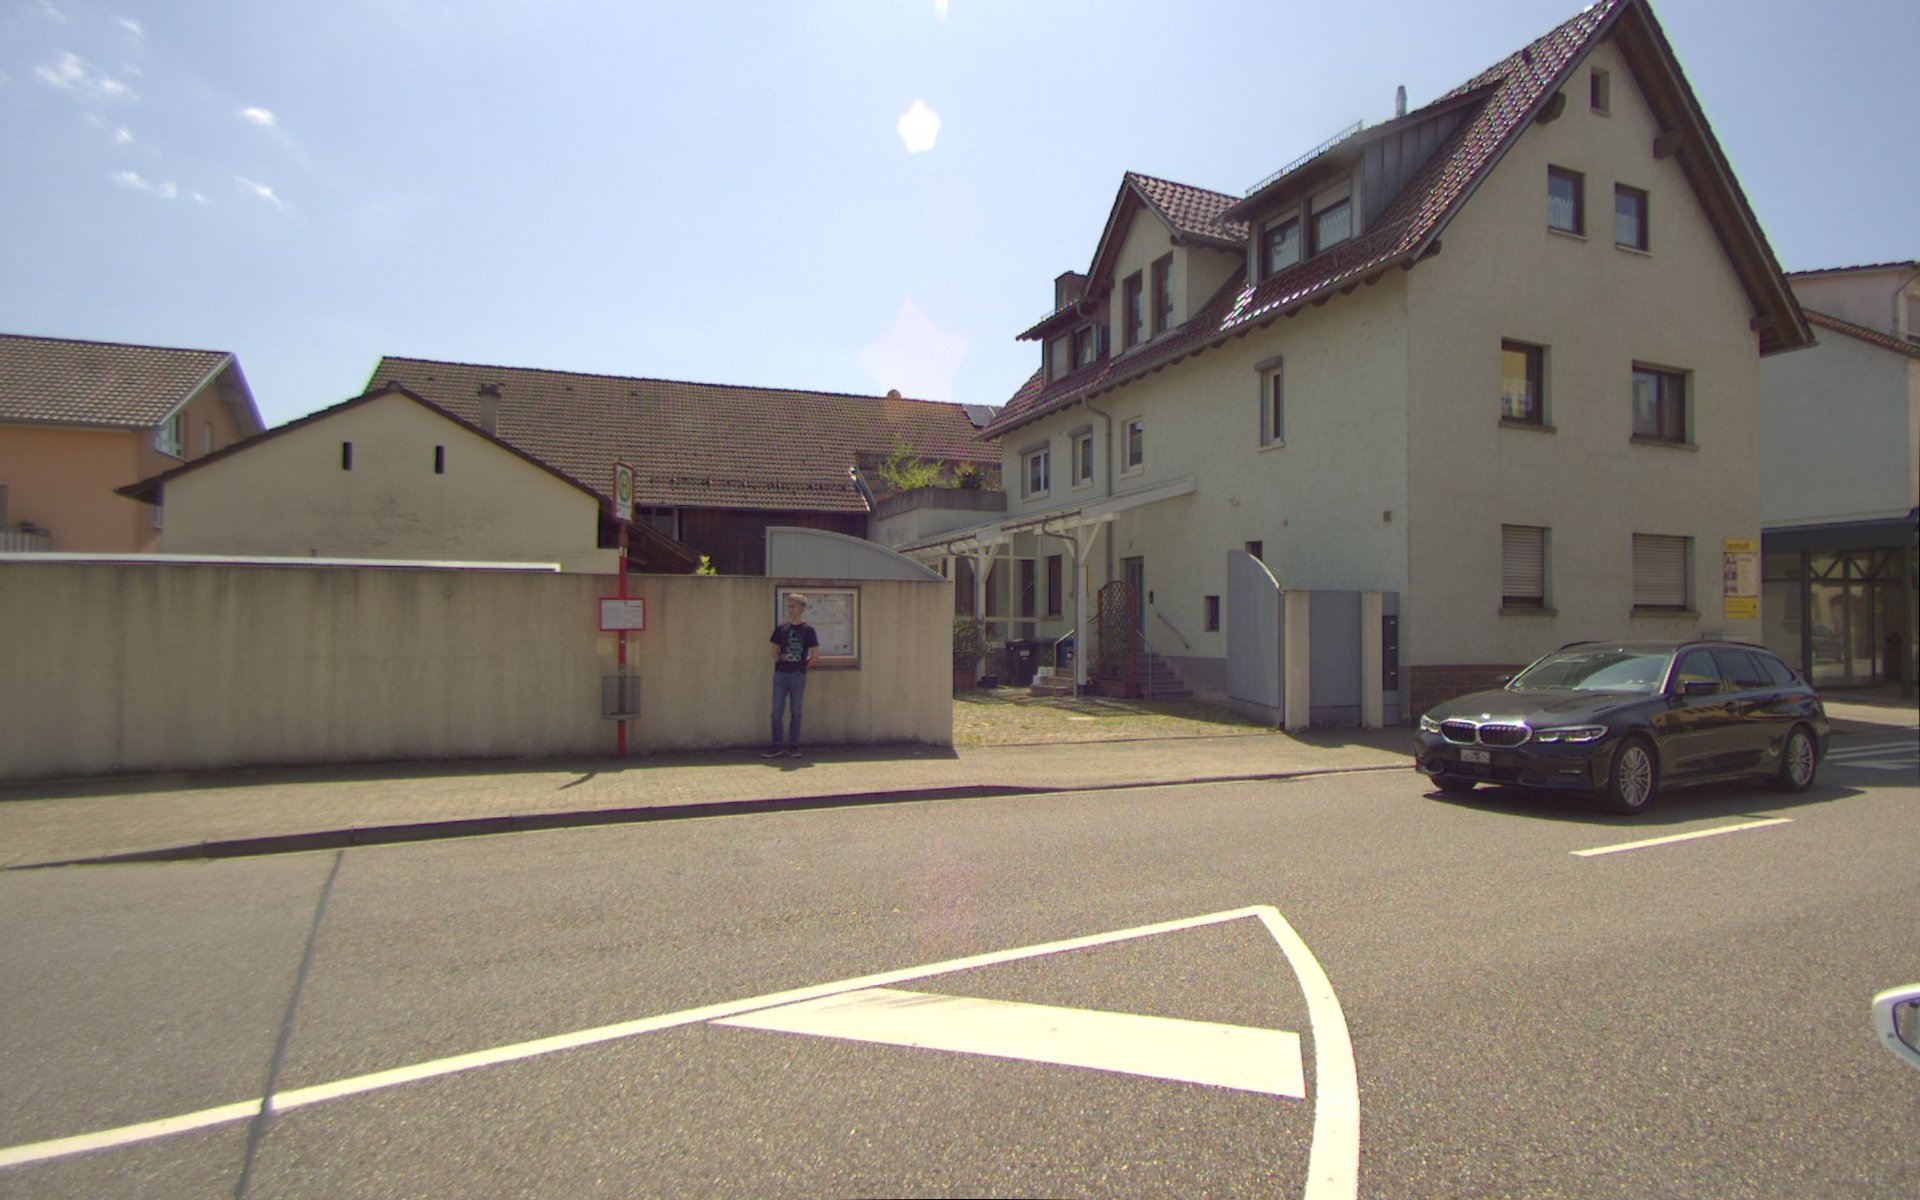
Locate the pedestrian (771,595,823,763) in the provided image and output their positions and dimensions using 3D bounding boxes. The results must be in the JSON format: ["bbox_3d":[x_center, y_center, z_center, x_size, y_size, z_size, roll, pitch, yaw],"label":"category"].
[{"bbox_3d":[-1.786,0.852,10.978,0.547,1.788,0.434,0,-2,-12],"label":"pedestrian"}]

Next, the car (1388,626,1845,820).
[{"bbox_3d":[6.362,1.058,9.664,4.366,1.512,1.787,2,-3,-28],"label":"car"}]
